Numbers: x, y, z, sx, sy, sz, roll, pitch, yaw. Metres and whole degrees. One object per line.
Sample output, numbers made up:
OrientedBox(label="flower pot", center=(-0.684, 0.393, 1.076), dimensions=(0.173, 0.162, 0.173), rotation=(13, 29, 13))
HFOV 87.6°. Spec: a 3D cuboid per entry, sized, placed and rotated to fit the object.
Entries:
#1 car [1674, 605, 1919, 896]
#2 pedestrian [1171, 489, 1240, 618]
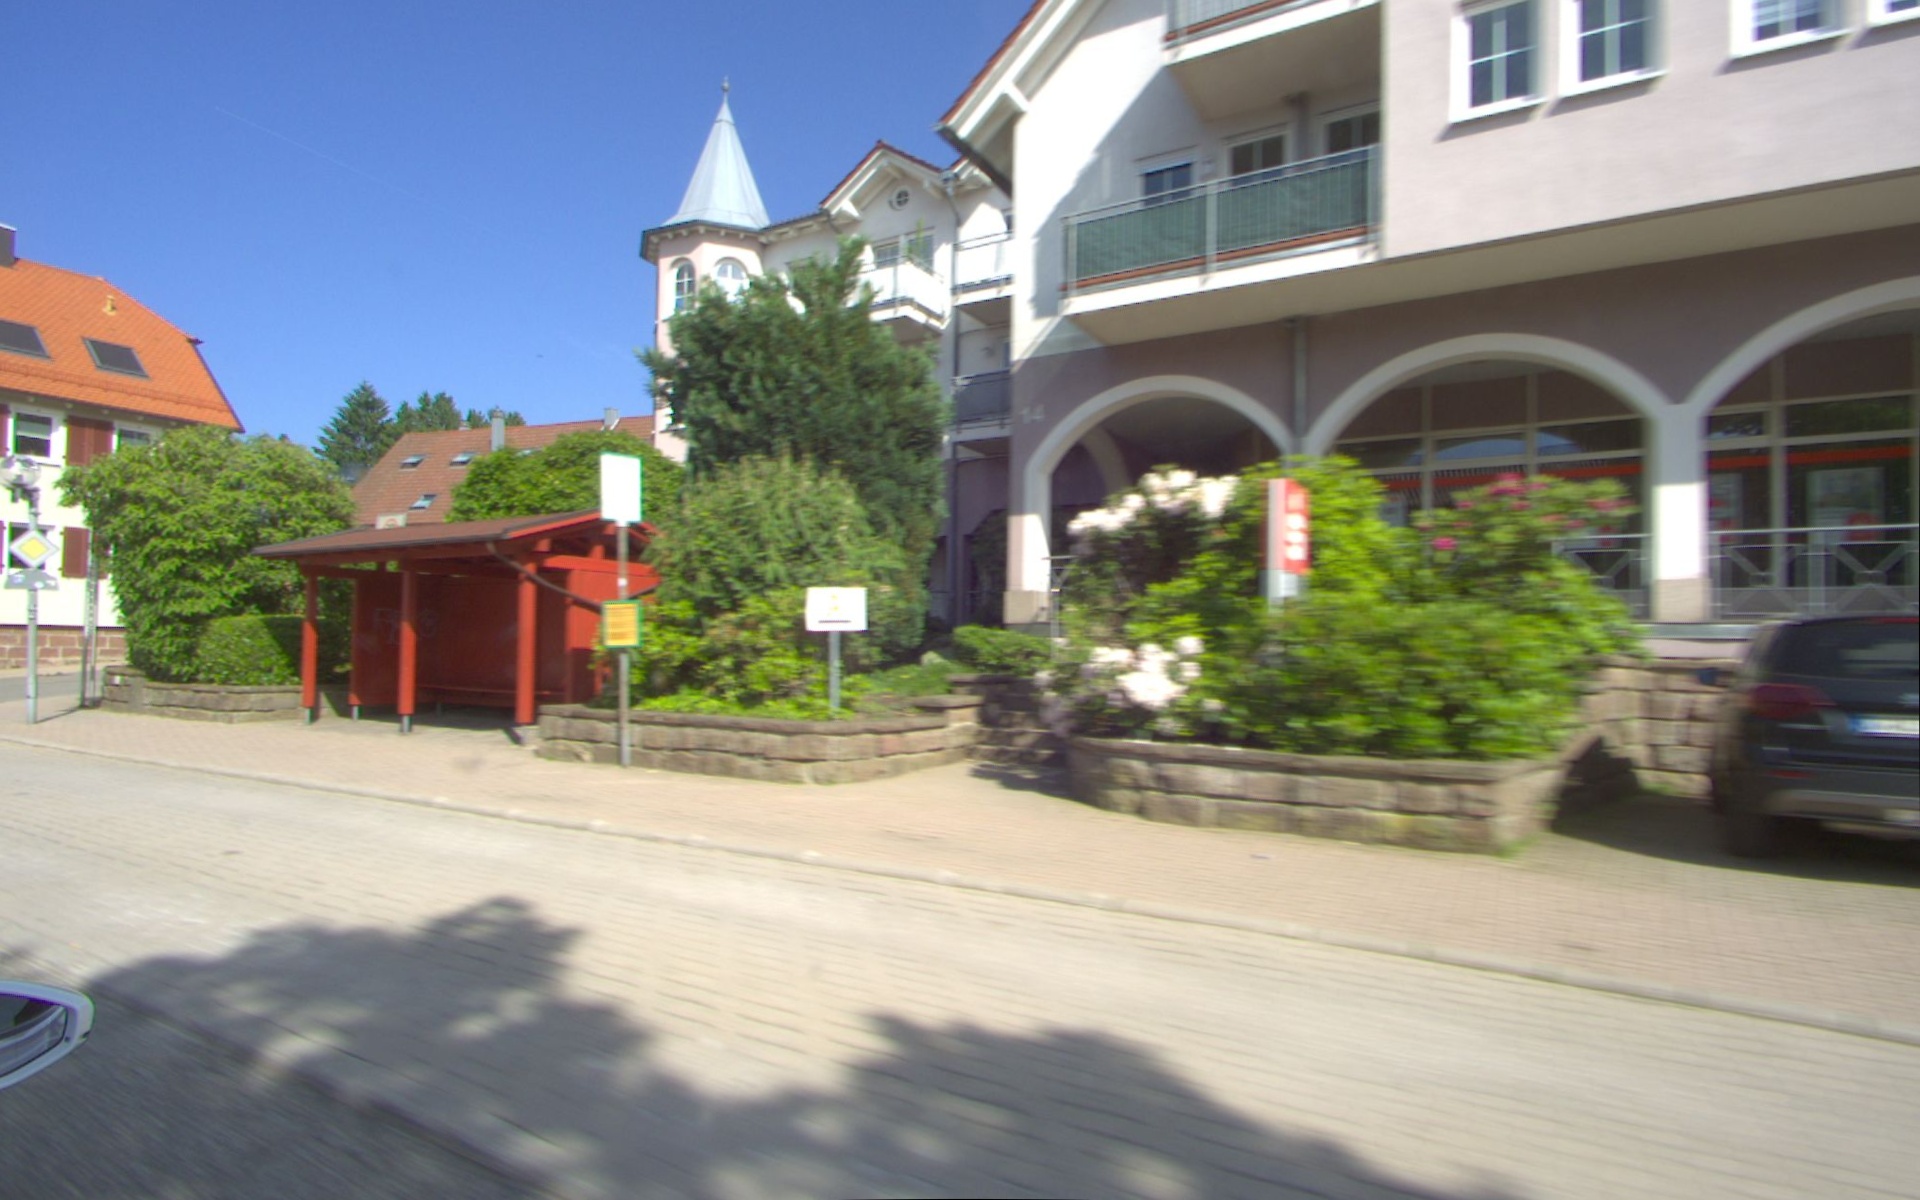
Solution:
OrientedBox(label="car", center=(6.299, 0.832, 7.047), dimensions=(1.854, 1.568, 3.979), rotation=(-1, -1, 33))
OrientedBox(label="pedestrian", center=(3.436, -0.632, 14.013), dimensions=(0.746, 1.746, 0.611), rotation=(2, 2, 33))
